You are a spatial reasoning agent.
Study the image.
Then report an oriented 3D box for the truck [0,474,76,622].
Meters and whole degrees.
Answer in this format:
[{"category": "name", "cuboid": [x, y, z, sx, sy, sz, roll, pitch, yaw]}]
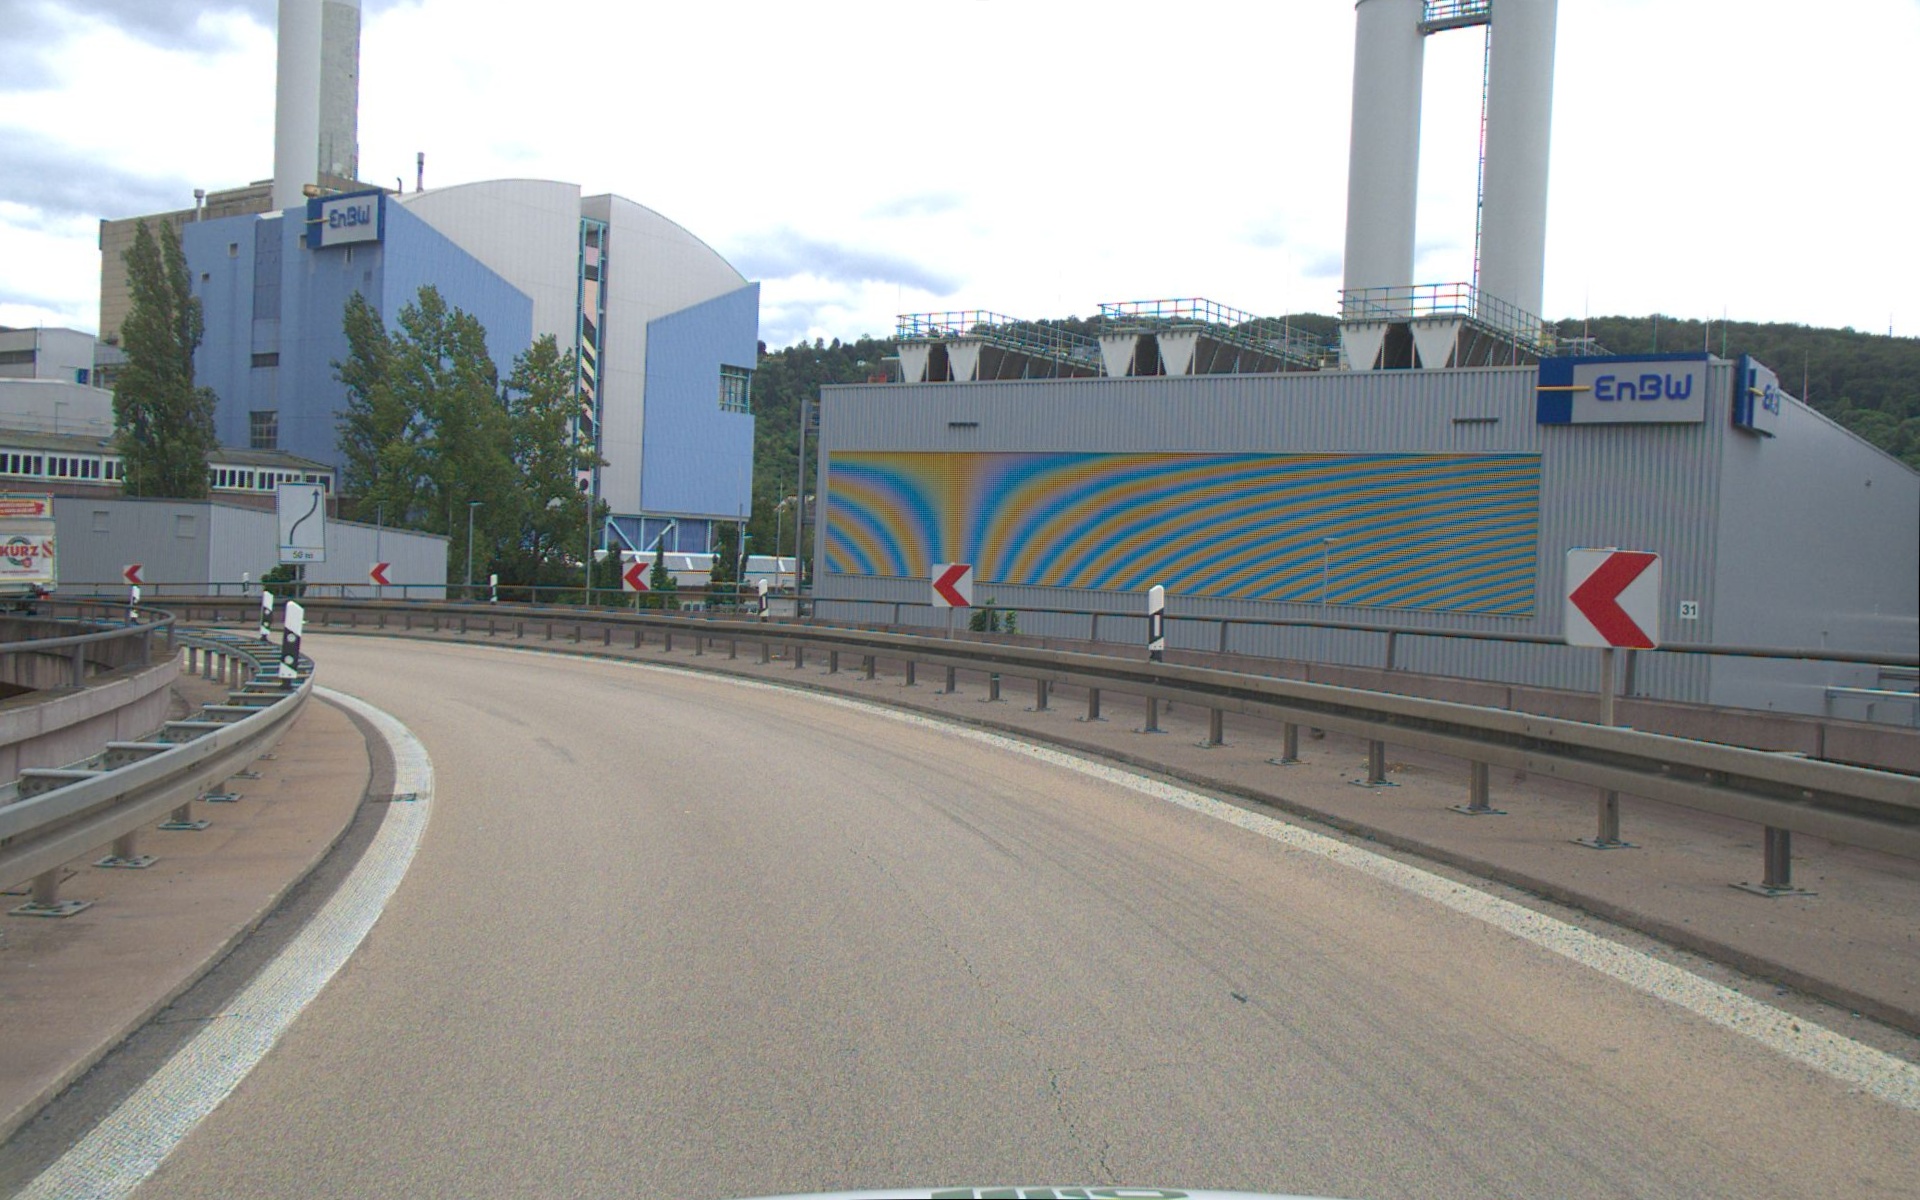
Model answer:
[{"category": "truck", "cuboid": [-27.307, -1.446, 44.158, 7.760, 3.737, 3.053, 2, 1, 32]}]
